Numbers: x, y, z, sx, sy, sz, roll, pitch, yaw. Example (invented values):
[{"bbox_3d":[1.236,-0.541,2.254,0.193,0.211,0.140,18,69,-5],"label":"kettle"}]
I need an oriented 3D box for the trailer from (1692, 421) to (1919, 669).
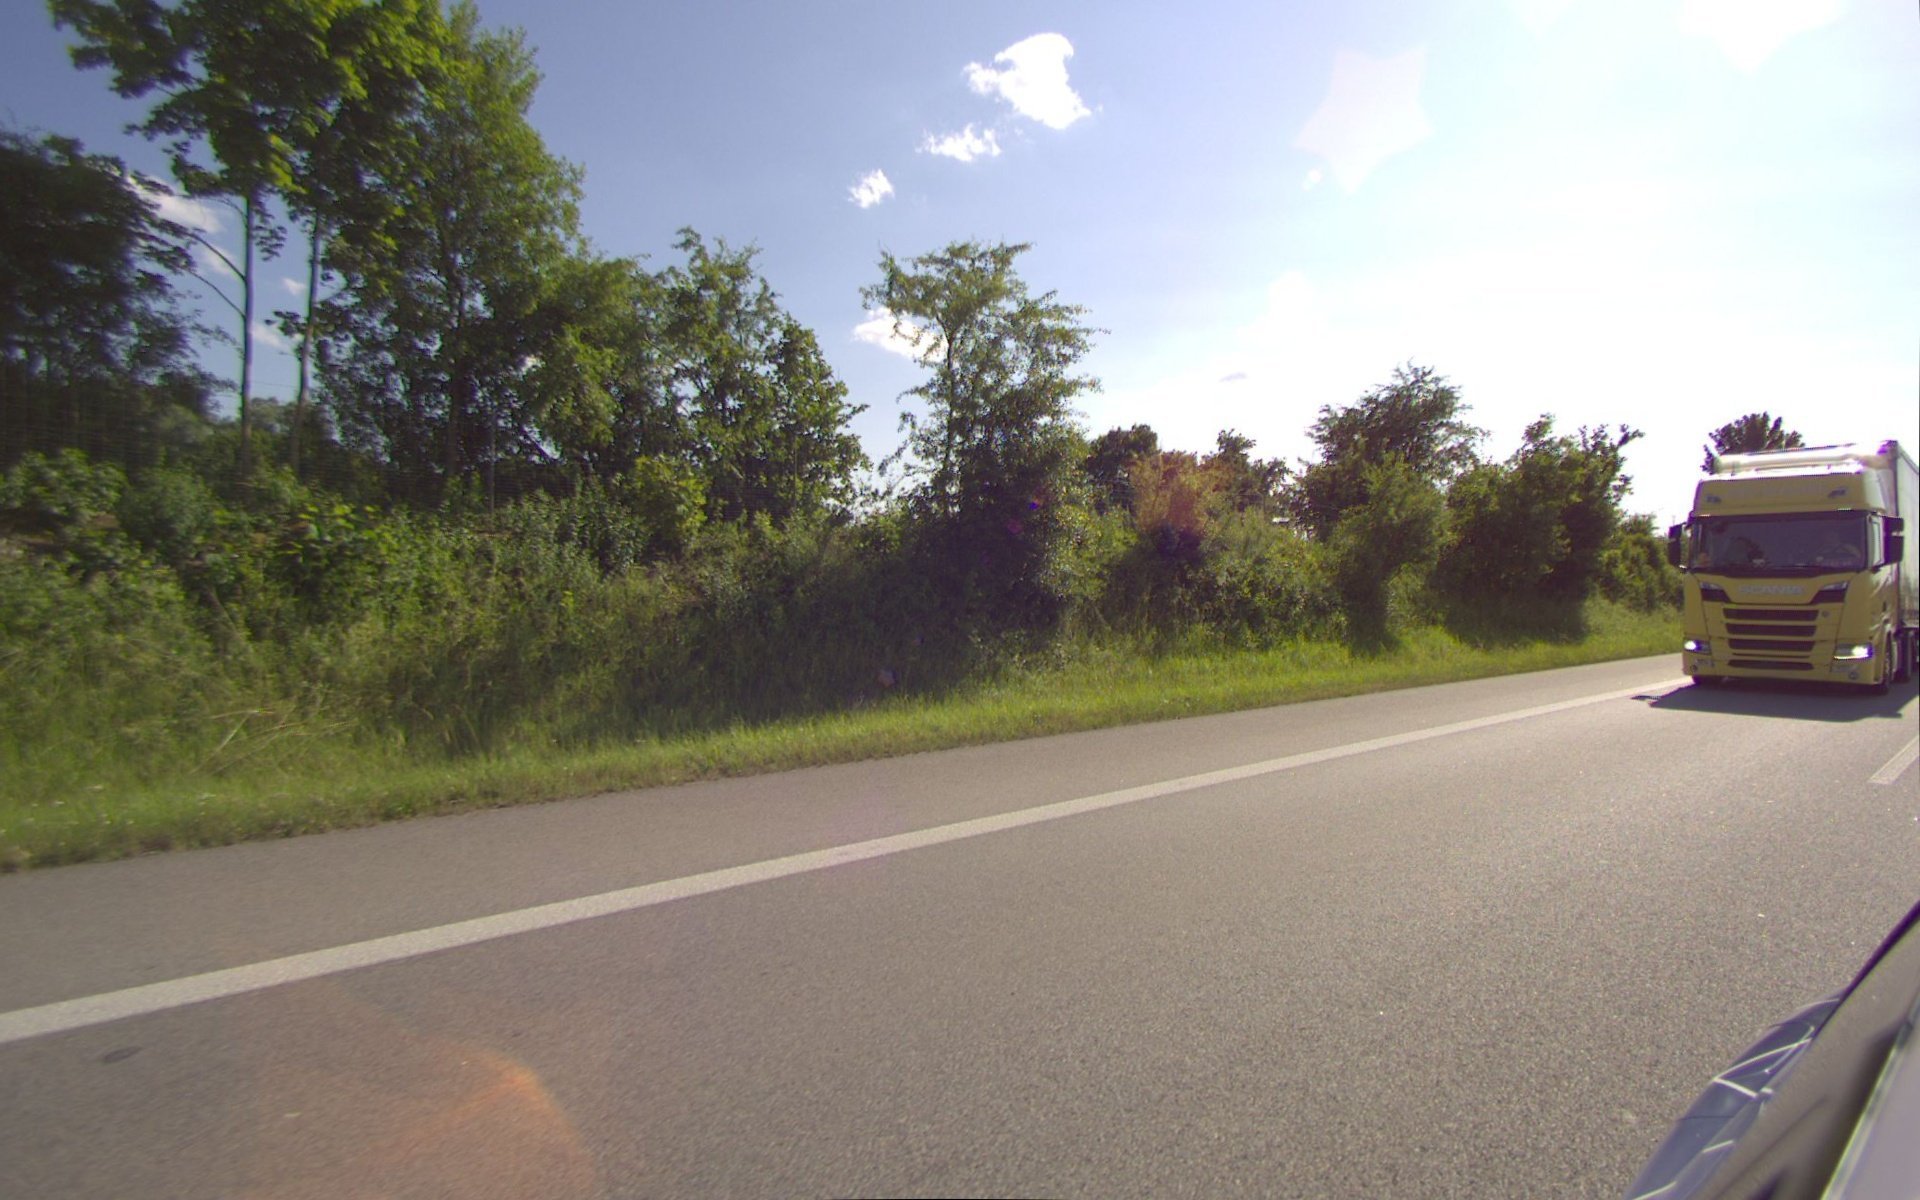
[{"bbox_3d":[19.659,-0.972,22.248,12.962,4.111,3.188,-1,0,-42],"label":"trailer"}]

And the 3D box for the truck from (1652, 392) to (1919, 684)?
[{"bbox_3d":[14.876,-0.915,17.804,6.281,4.166,3.172,-1,0,-43],"label":"truck"}]
